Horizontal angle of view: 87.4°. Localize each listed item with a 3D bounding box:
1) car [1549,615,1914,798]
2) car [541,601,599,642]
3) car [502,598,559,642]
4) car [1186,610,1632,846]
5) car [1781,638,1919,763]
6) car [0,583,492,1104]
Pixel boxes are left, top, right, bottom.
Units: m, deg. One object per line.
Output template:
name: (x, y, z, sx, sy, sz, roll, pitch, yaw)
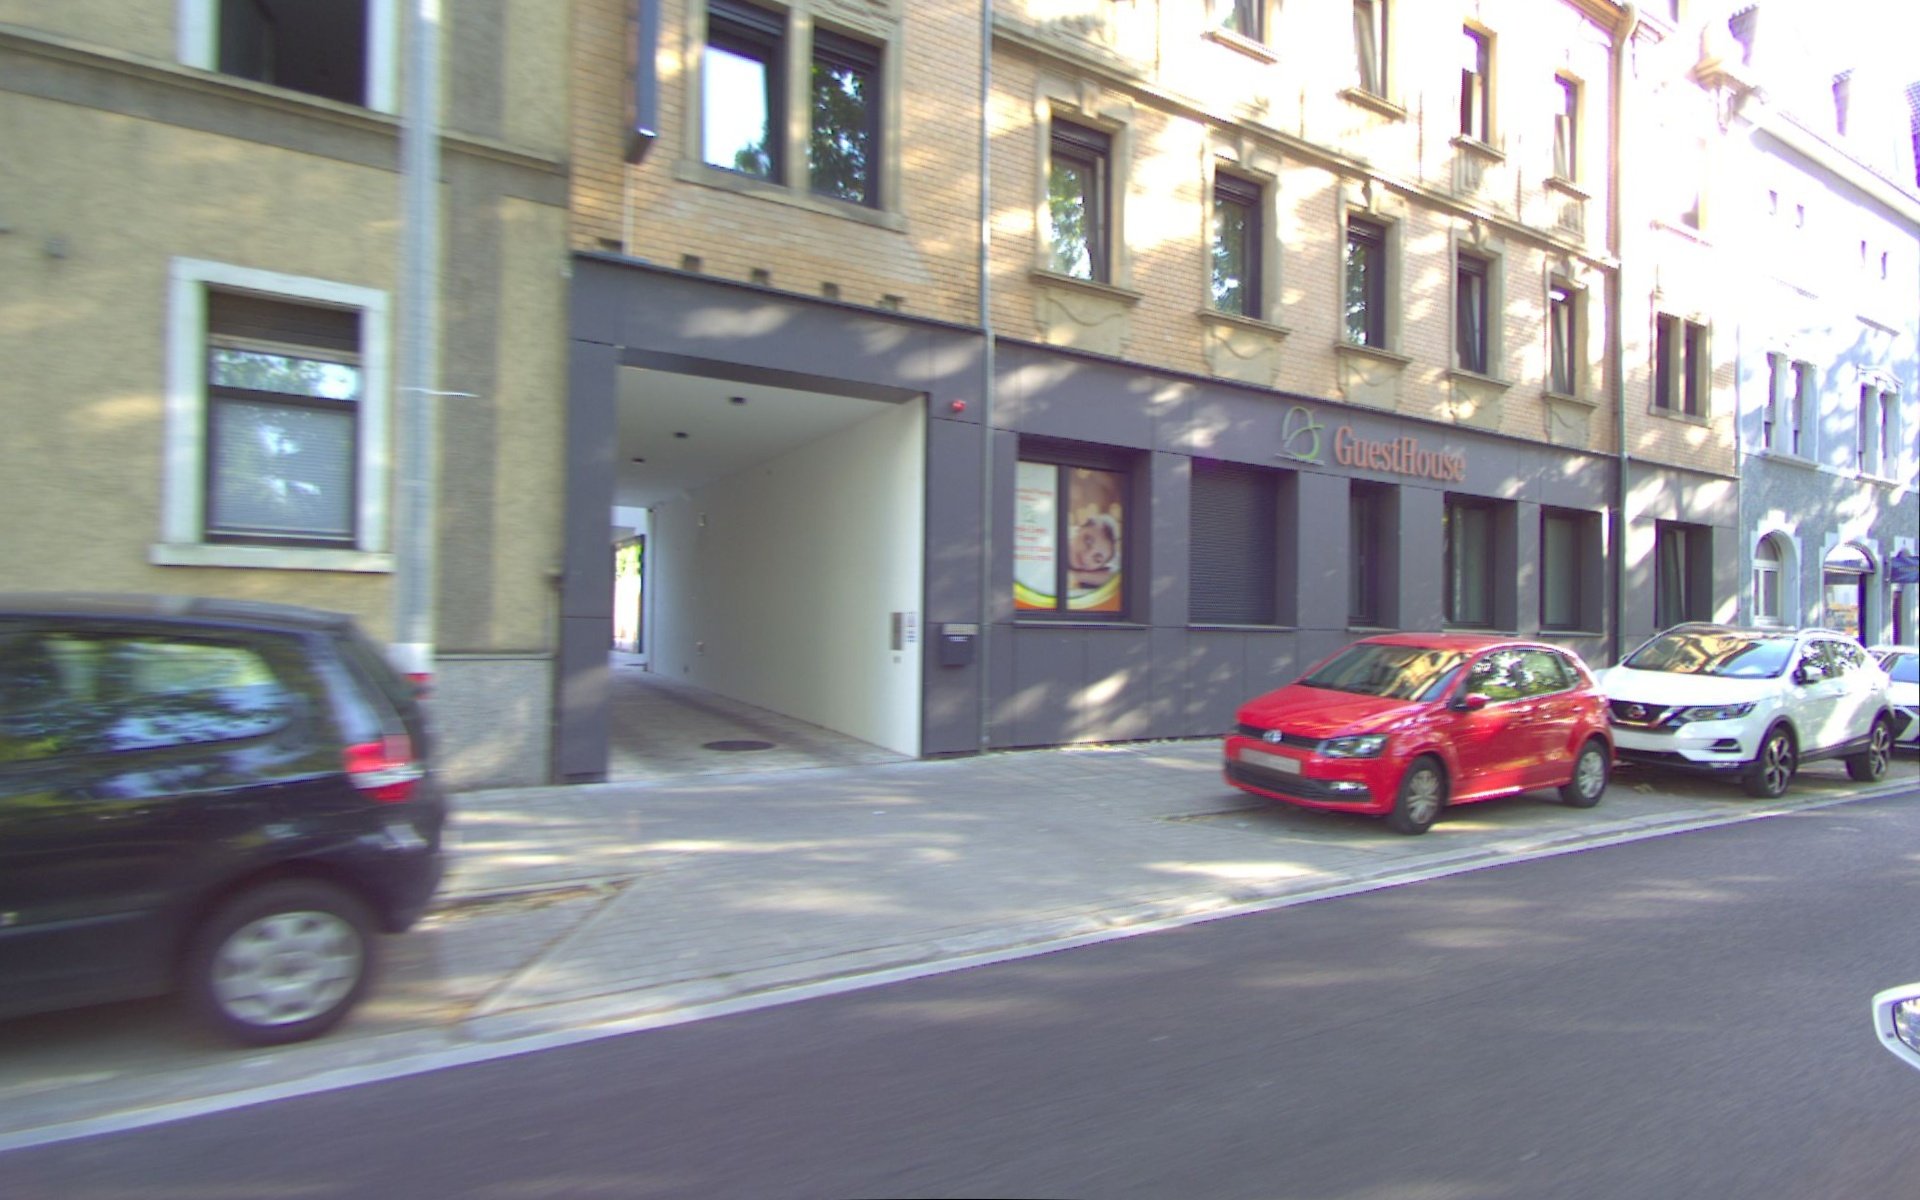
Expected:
car: (8.374, 1.021, 10.825, 4.151, 1.606, 1.669, 2, 0, -30)
car: (-18.880, 1.042, 48.531, 1.977, 1.873, 3.967, 1, -2, -31)
car: (-20.424, 0.974, 47.668, 1.977, 1.995, 3.967, 1, -2, -31)
car: (3.935, 0.946, 8.697, 3.712, 1.613, 1.669, 2, 0, -30)
car: (13.504, 1.345, 14.217, 3.826, 1.516, 1.669, 2, 0, -30)
car: (-3.782, 0.749, 3.673, 3.659, 1.626, 1.671, 2, 0, -28)
